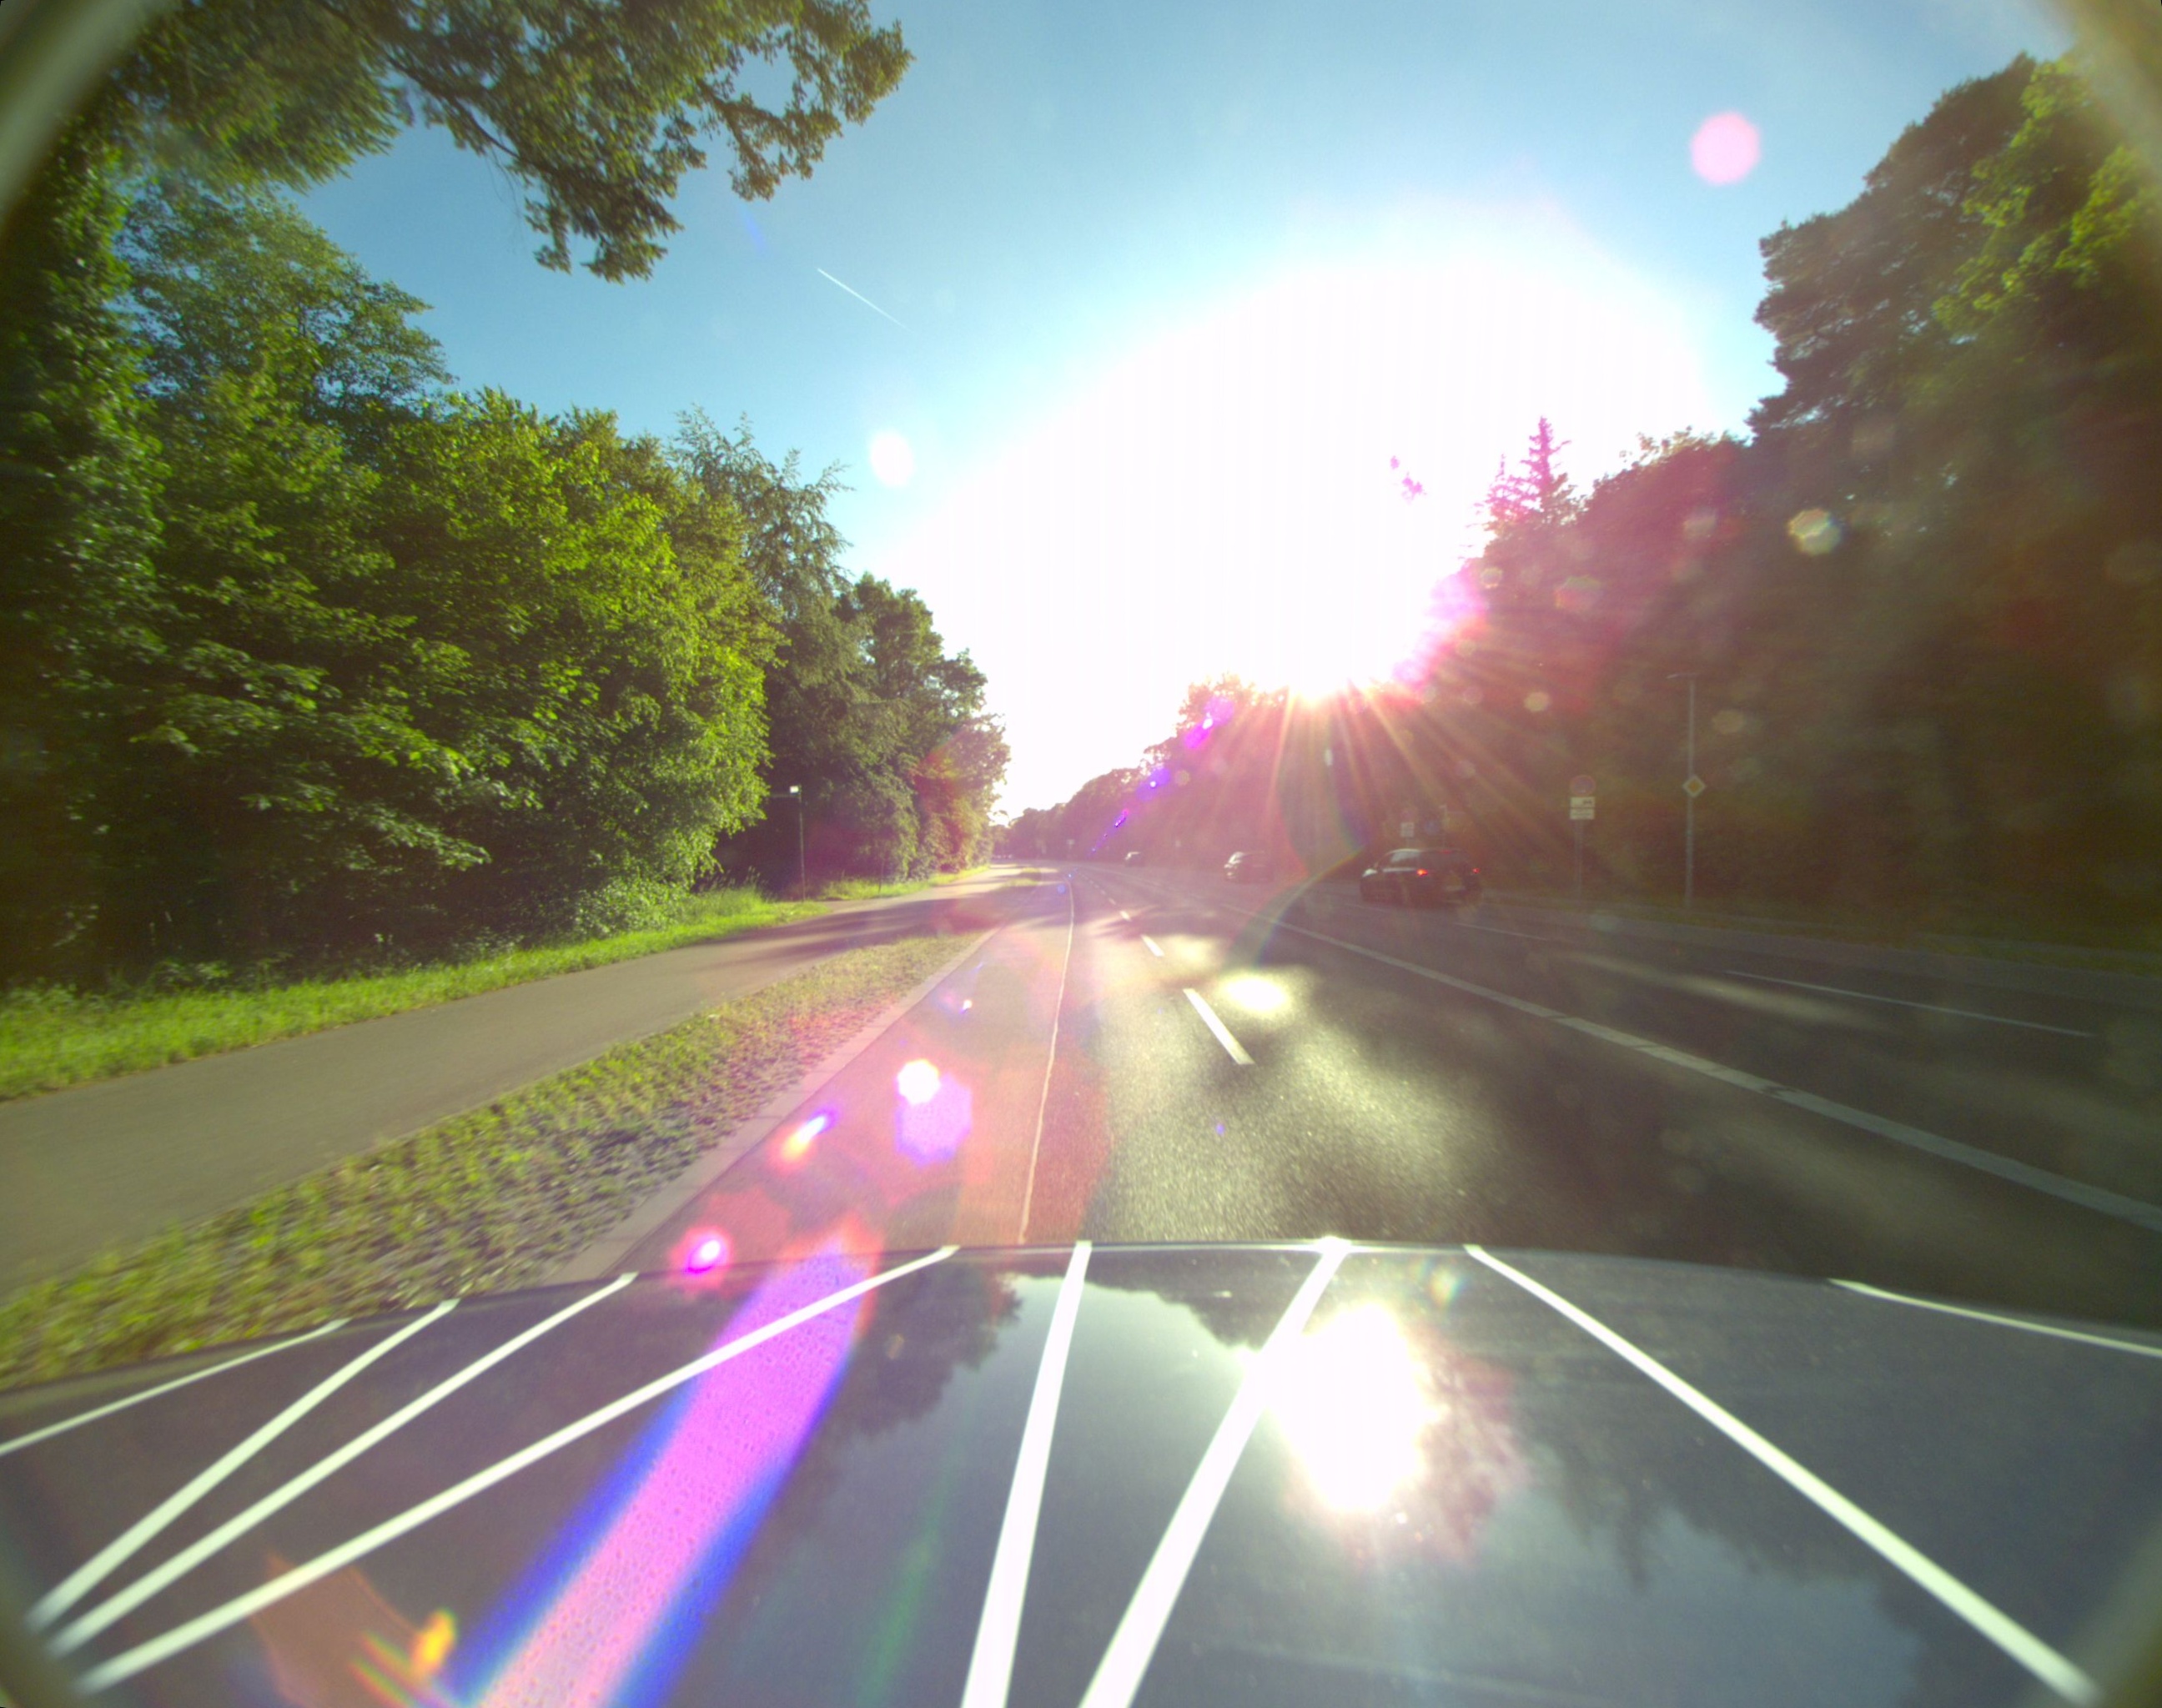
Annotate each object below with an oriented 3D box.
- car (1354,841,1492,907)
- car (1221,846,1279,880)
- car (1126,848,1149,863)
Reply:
[{"bbox_3d":[8.720,0.457,19.775,1.661,1.472,4.172,-2,0,0],"label":"car"},{"bbox_3d":[8.055,0.380,36.544,1.743,1.449,3.998,-3,1,-1],"label":"car"},{"bbox_3d":[6.216,0.128,83.782,1.901,1.601,4.447,-1,1,-3],"label":"car"}]
